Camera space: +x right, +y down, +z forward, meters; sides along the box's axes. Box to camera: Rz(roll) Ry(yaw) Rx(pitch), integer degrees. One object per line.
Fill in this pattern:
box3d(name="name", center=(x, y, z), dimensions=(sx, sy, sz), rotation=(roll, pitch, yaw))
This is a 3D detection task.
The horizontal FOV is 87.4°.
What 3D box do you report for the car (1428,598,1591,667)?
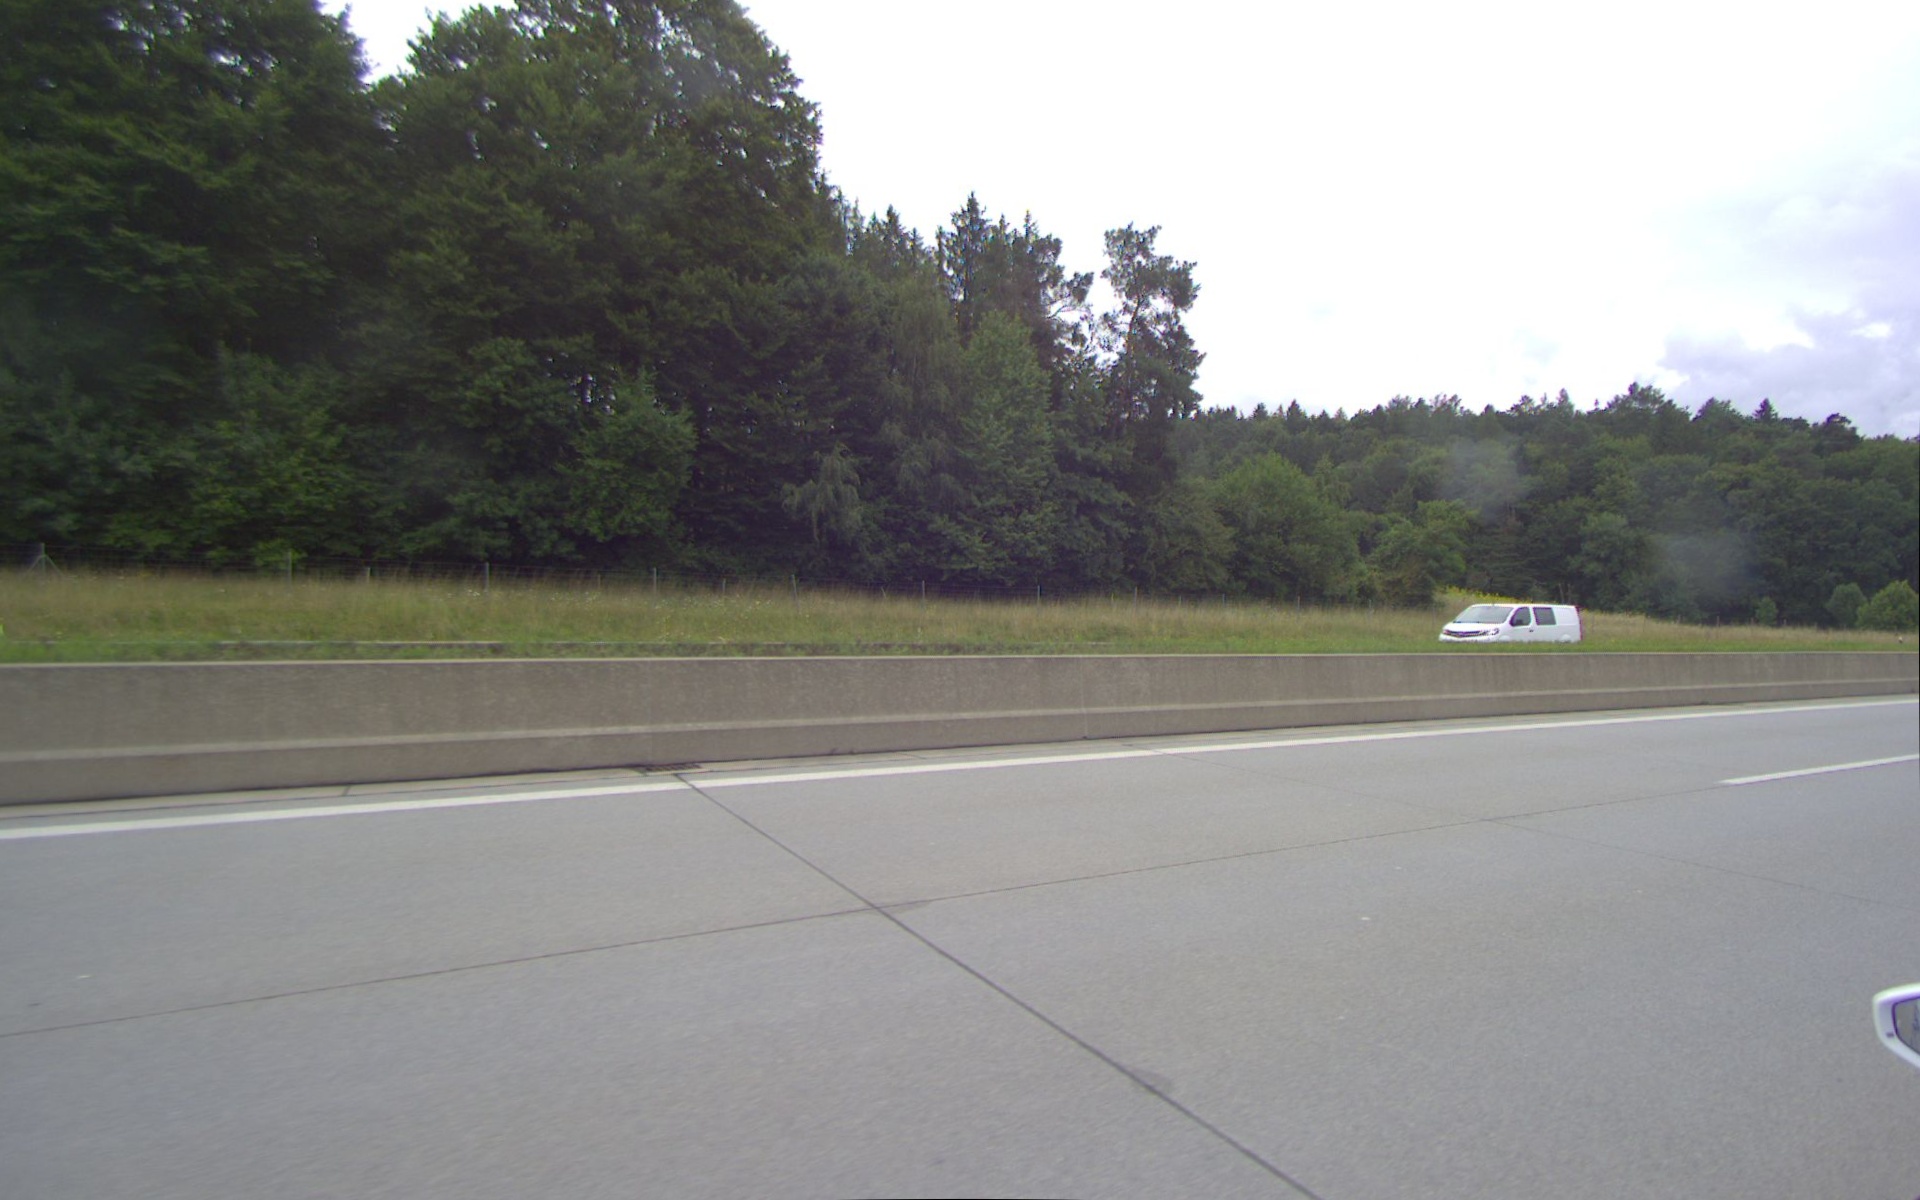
box3d(name="car", center=(17.149, 0.987, 31.268), dimensions=(5.563, 1.982, 1.983), rotation=(1, 0, -32))
